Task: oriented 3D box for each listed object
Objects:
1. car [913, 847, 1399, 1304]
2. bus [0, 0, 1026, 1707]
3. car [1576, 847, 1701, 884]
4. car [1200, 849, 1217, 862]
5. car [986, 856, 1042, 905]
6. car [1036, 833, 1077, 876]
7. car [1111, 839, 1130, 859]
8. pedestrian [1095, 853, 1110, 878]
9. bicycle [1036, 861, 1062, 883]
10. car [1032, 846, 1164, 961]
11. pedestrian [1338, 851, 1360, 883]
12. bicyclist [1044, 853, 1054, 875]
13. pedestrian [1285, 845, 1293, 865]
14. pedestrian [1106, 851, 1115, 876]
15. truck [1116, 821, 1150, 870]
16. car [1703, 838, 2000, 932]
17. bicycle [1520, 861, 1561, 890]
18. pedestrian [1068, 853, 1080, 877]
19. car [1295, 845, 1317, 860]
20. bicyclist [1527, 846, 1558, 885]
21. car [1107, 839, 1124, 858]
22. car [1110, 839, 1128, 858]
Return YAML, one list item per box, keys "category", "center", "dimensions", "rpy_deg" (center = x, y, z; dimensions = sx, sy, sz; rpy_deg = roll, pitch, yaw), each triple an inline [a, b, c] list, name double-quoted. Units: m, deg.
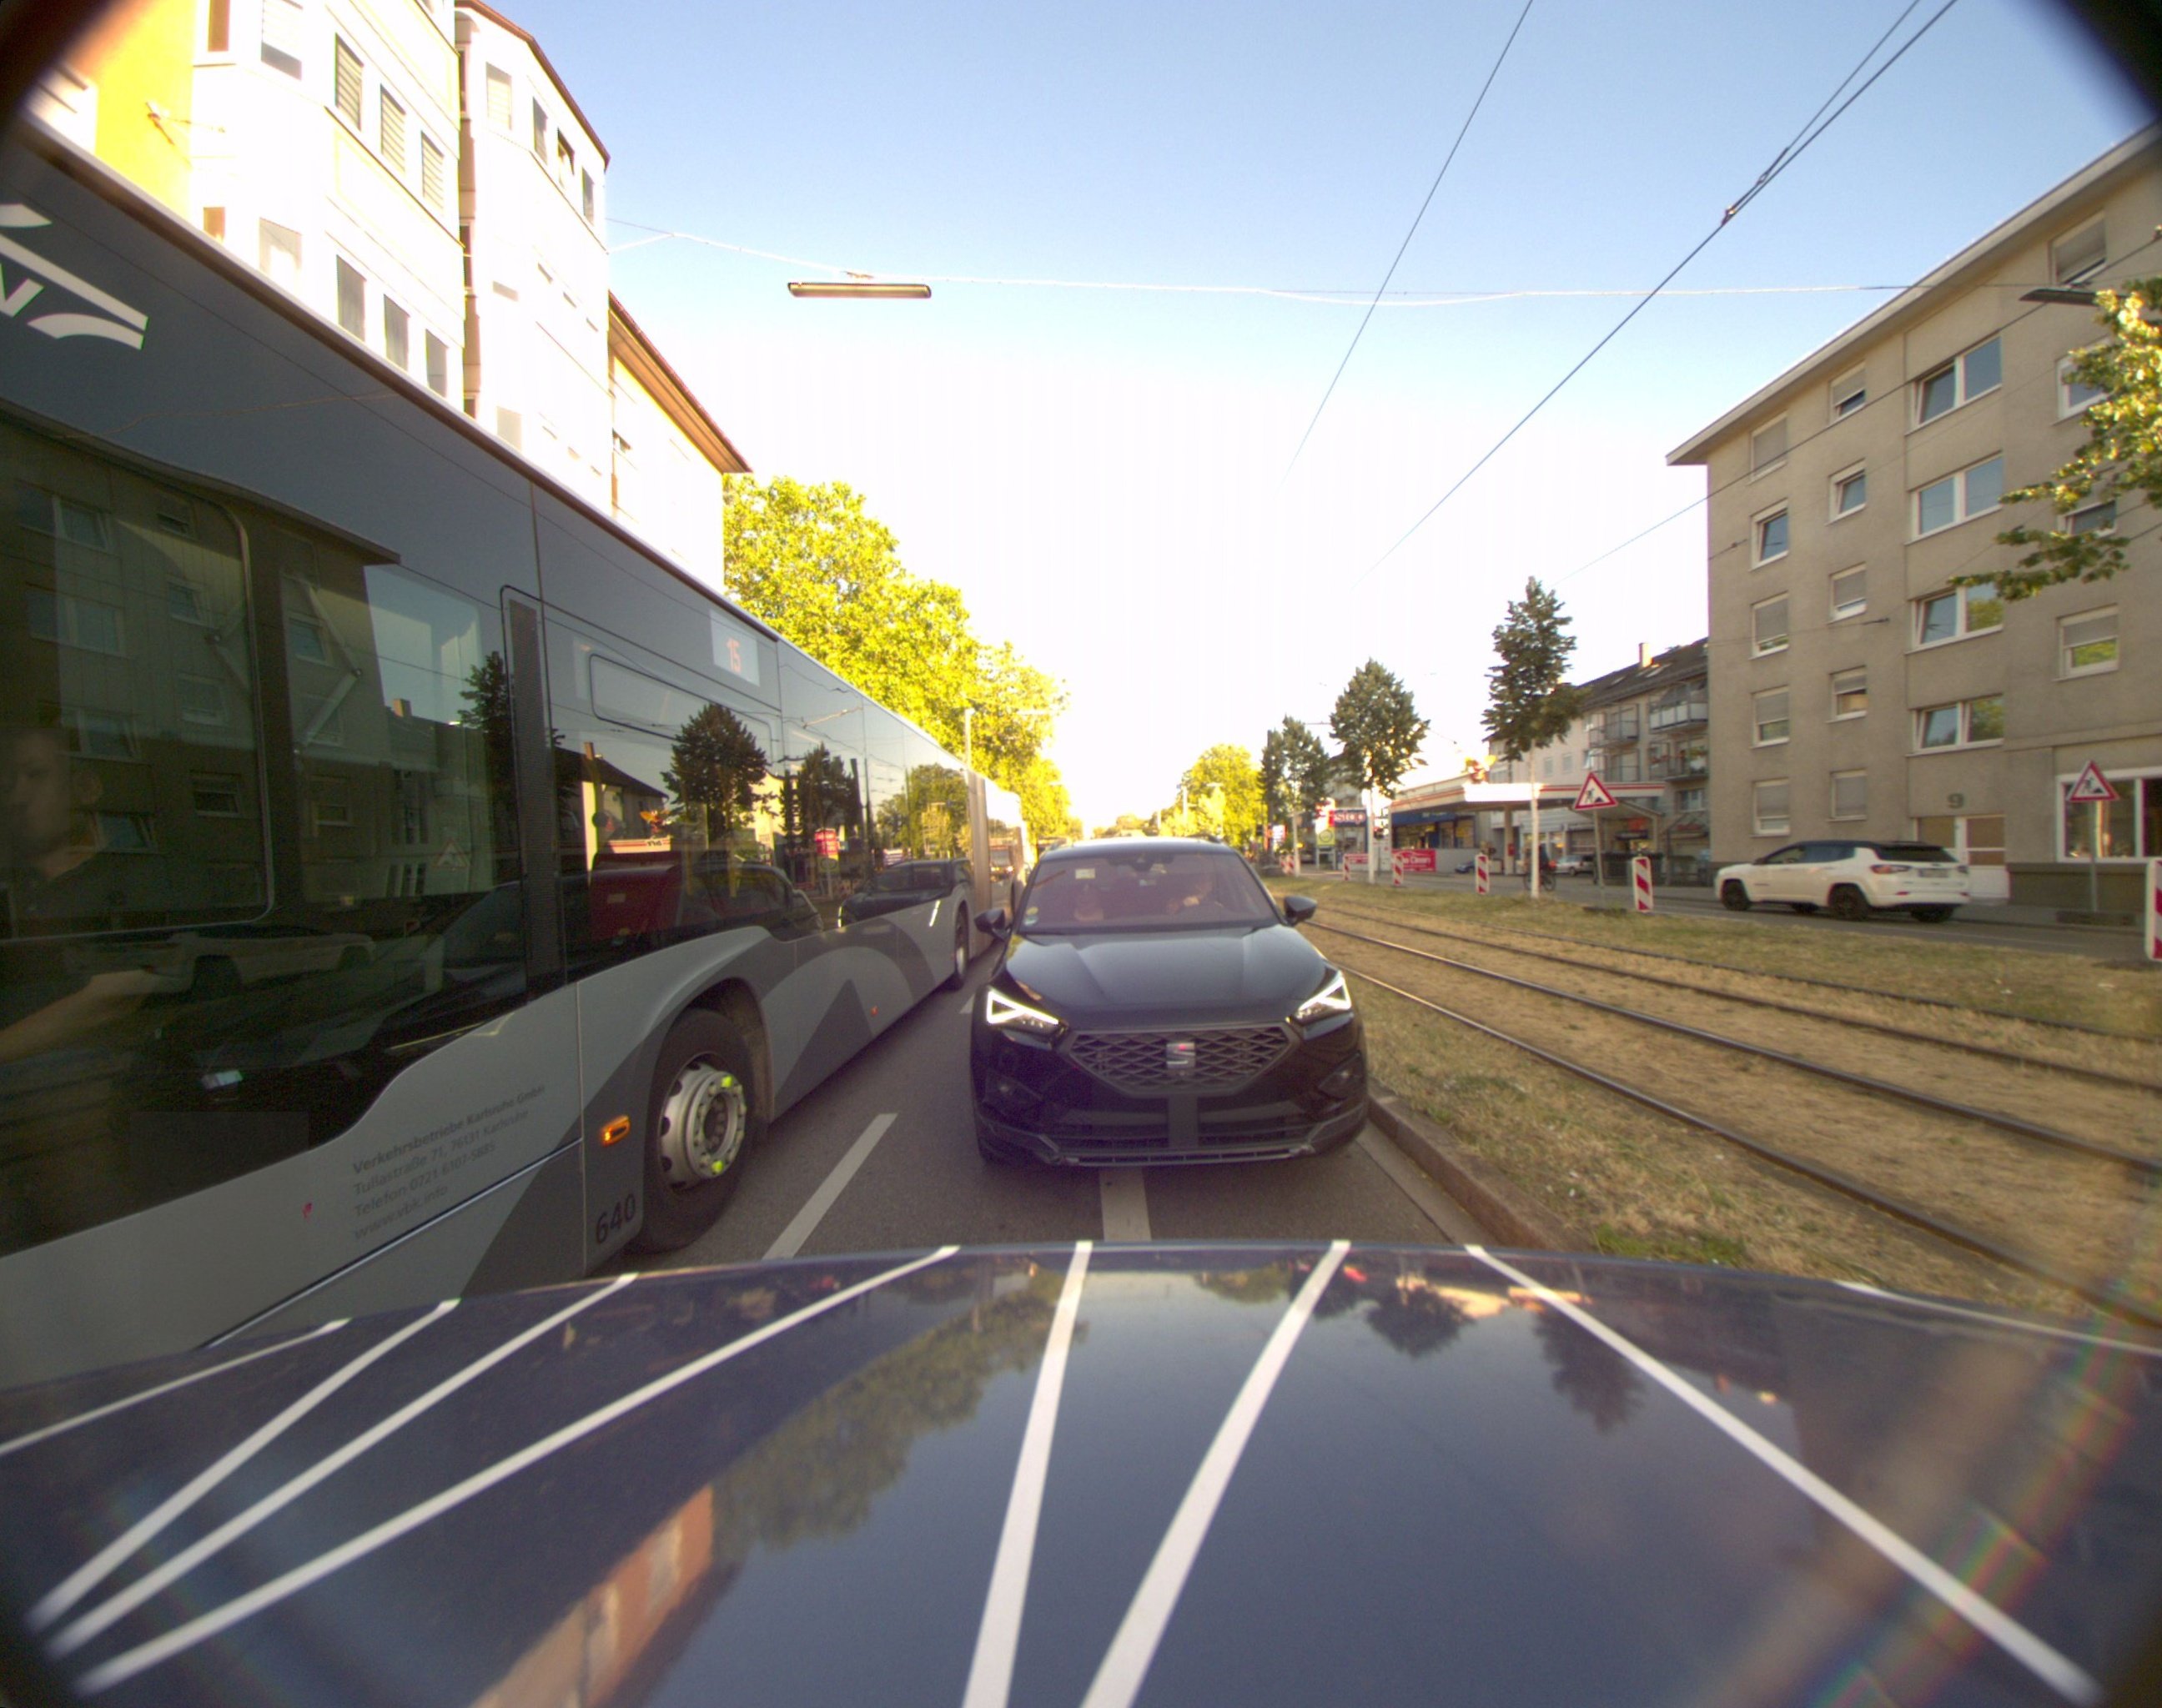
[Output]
- category: "car"
  center: [0.312, 0.845, 4.897]
  dimensions: [1.774, 1.667, 4.000]
  rpy_deg: [-3, 0, 1]
- category: "bus"
  center: [-2.803, 0.163, 9.046]
  dimensions: [2.773, 3.131, 17.740]
  rpy_deg: [-2, 0, 1]
- category: "car"
  center: [22.784, 0.493, 31.150]
  dimensions: [3.727, 1.460, 1.908]
  rpy_deg: [0, -1, 0]
- category: "car"
  center: [17.051, 0.243, 101.802]
  dimensions: [1.723, 1.601, 3.828]
  rpy_deg: [-2, 1, 3]
- category: "car"
  center: [-2.431, 0.918, 28.495]
  dimensions: [1.750, 1.598, 3.823]
  rpy_deg: [-2, 1, -1]
- category: "car"
  center: [-1.708, 0.019, 55.718]
  dimensions: [2.681, 2.875, 5.452]
  rpy_deg: [-2, 1, 0]
- category: "car"
  center: [4.074, -0.534, 78.531]
  dimensions: [1.767, 2.002, 3.791]
  rpy_deg: [-2, 1, 1]
- category: "pedestrian"
  center: [1.354, 0.707, 47.876]
  dimensions: [0.700, 1.552, 0.508]
  rpy_deg: [-3, 1, -37]
- category: "bicycle"
  center: [-1.926, 1.071, 45.629]
  dimensions: [1.474, 1.213, 0.525]
  rpy_deg: [-2, 1, -17]
- category: "car"
  center: [0.289, 0.746, 13.570]
  dimensions: [1.998, 1.739, 4.000]
  rpy_deg: [0, 0, 1]
- category: "pedestrian"
  center: [11.015, 0.538, 31.220]
  dimensions: [0.664, 1.263, 0.581]
  rpy_deg: [-2, 0, 1]
- category: "bicyclist"
  center: [-1.922, 0.606, 45.586]
  dimensions: [0.500, 1.303, 0.499]
  rpy_deg: [-3, 1, -17]
- category: "pedestrian"
  center: [20.833, 0.122, 76.062]
  dimensions: [0.632, 2.002, 0.583]
  rpy_deg: [0, 1, 2]
- category: "pedestrian"
  center: [2.411, 0.764, 61.751]
  dimensions: [0.625, 2.002, 0.695]
  rpy_deg: [-2, 0, 0]
- category: "truck"
  center: [4.325, -0.702, 64.531]
  dimensions: [2.306, 3.798, 7.723]
  rpy_deg: [-2, 1, 1]
- category: "car"
  center: [16.104, 0.571, 16.312]
  dimensions: [1.998, 1.724, 4.394]
  rpy_deg: [1, 0, 2]
- category: "bicycle"
  center: [17.421, 0.801, 28.855]
  dimensions: [0.447, 1.038, 1.860]
  rpy_deg: [0, 0, -1]
- category: "pedestrian"
  center: [-0.462, 0.691, 47.088]
  dimensions: [0.618, 1.482, 0.438]
  rpy_deg: [-2, 1, -13]
- category: "car"
  center: [25.109, -0.223, 84.824]
  dimensions: [1.781, 1.547, 4.002]
  rpy_deg: [-2, 1, 9]
- category: "bicyclist"
  center: [17.428, 0.432, 28.695]
  dimensions: [0.780, 1.438, 0.650]
  rpy_deg: [0, 1, 0]
- category: "car"
  center: [4.002, -0.636, 87.886]
  dimensions: [1.767, 2.002, 3.791]
  rpy_deg: [-2, 1, 1]
- category: "car"
  center: [4.113, -0.592, 83.564]
  dimensions: [1.767, 2.002, 3.791]
  rpy_deg: [-2, 1, 1]
